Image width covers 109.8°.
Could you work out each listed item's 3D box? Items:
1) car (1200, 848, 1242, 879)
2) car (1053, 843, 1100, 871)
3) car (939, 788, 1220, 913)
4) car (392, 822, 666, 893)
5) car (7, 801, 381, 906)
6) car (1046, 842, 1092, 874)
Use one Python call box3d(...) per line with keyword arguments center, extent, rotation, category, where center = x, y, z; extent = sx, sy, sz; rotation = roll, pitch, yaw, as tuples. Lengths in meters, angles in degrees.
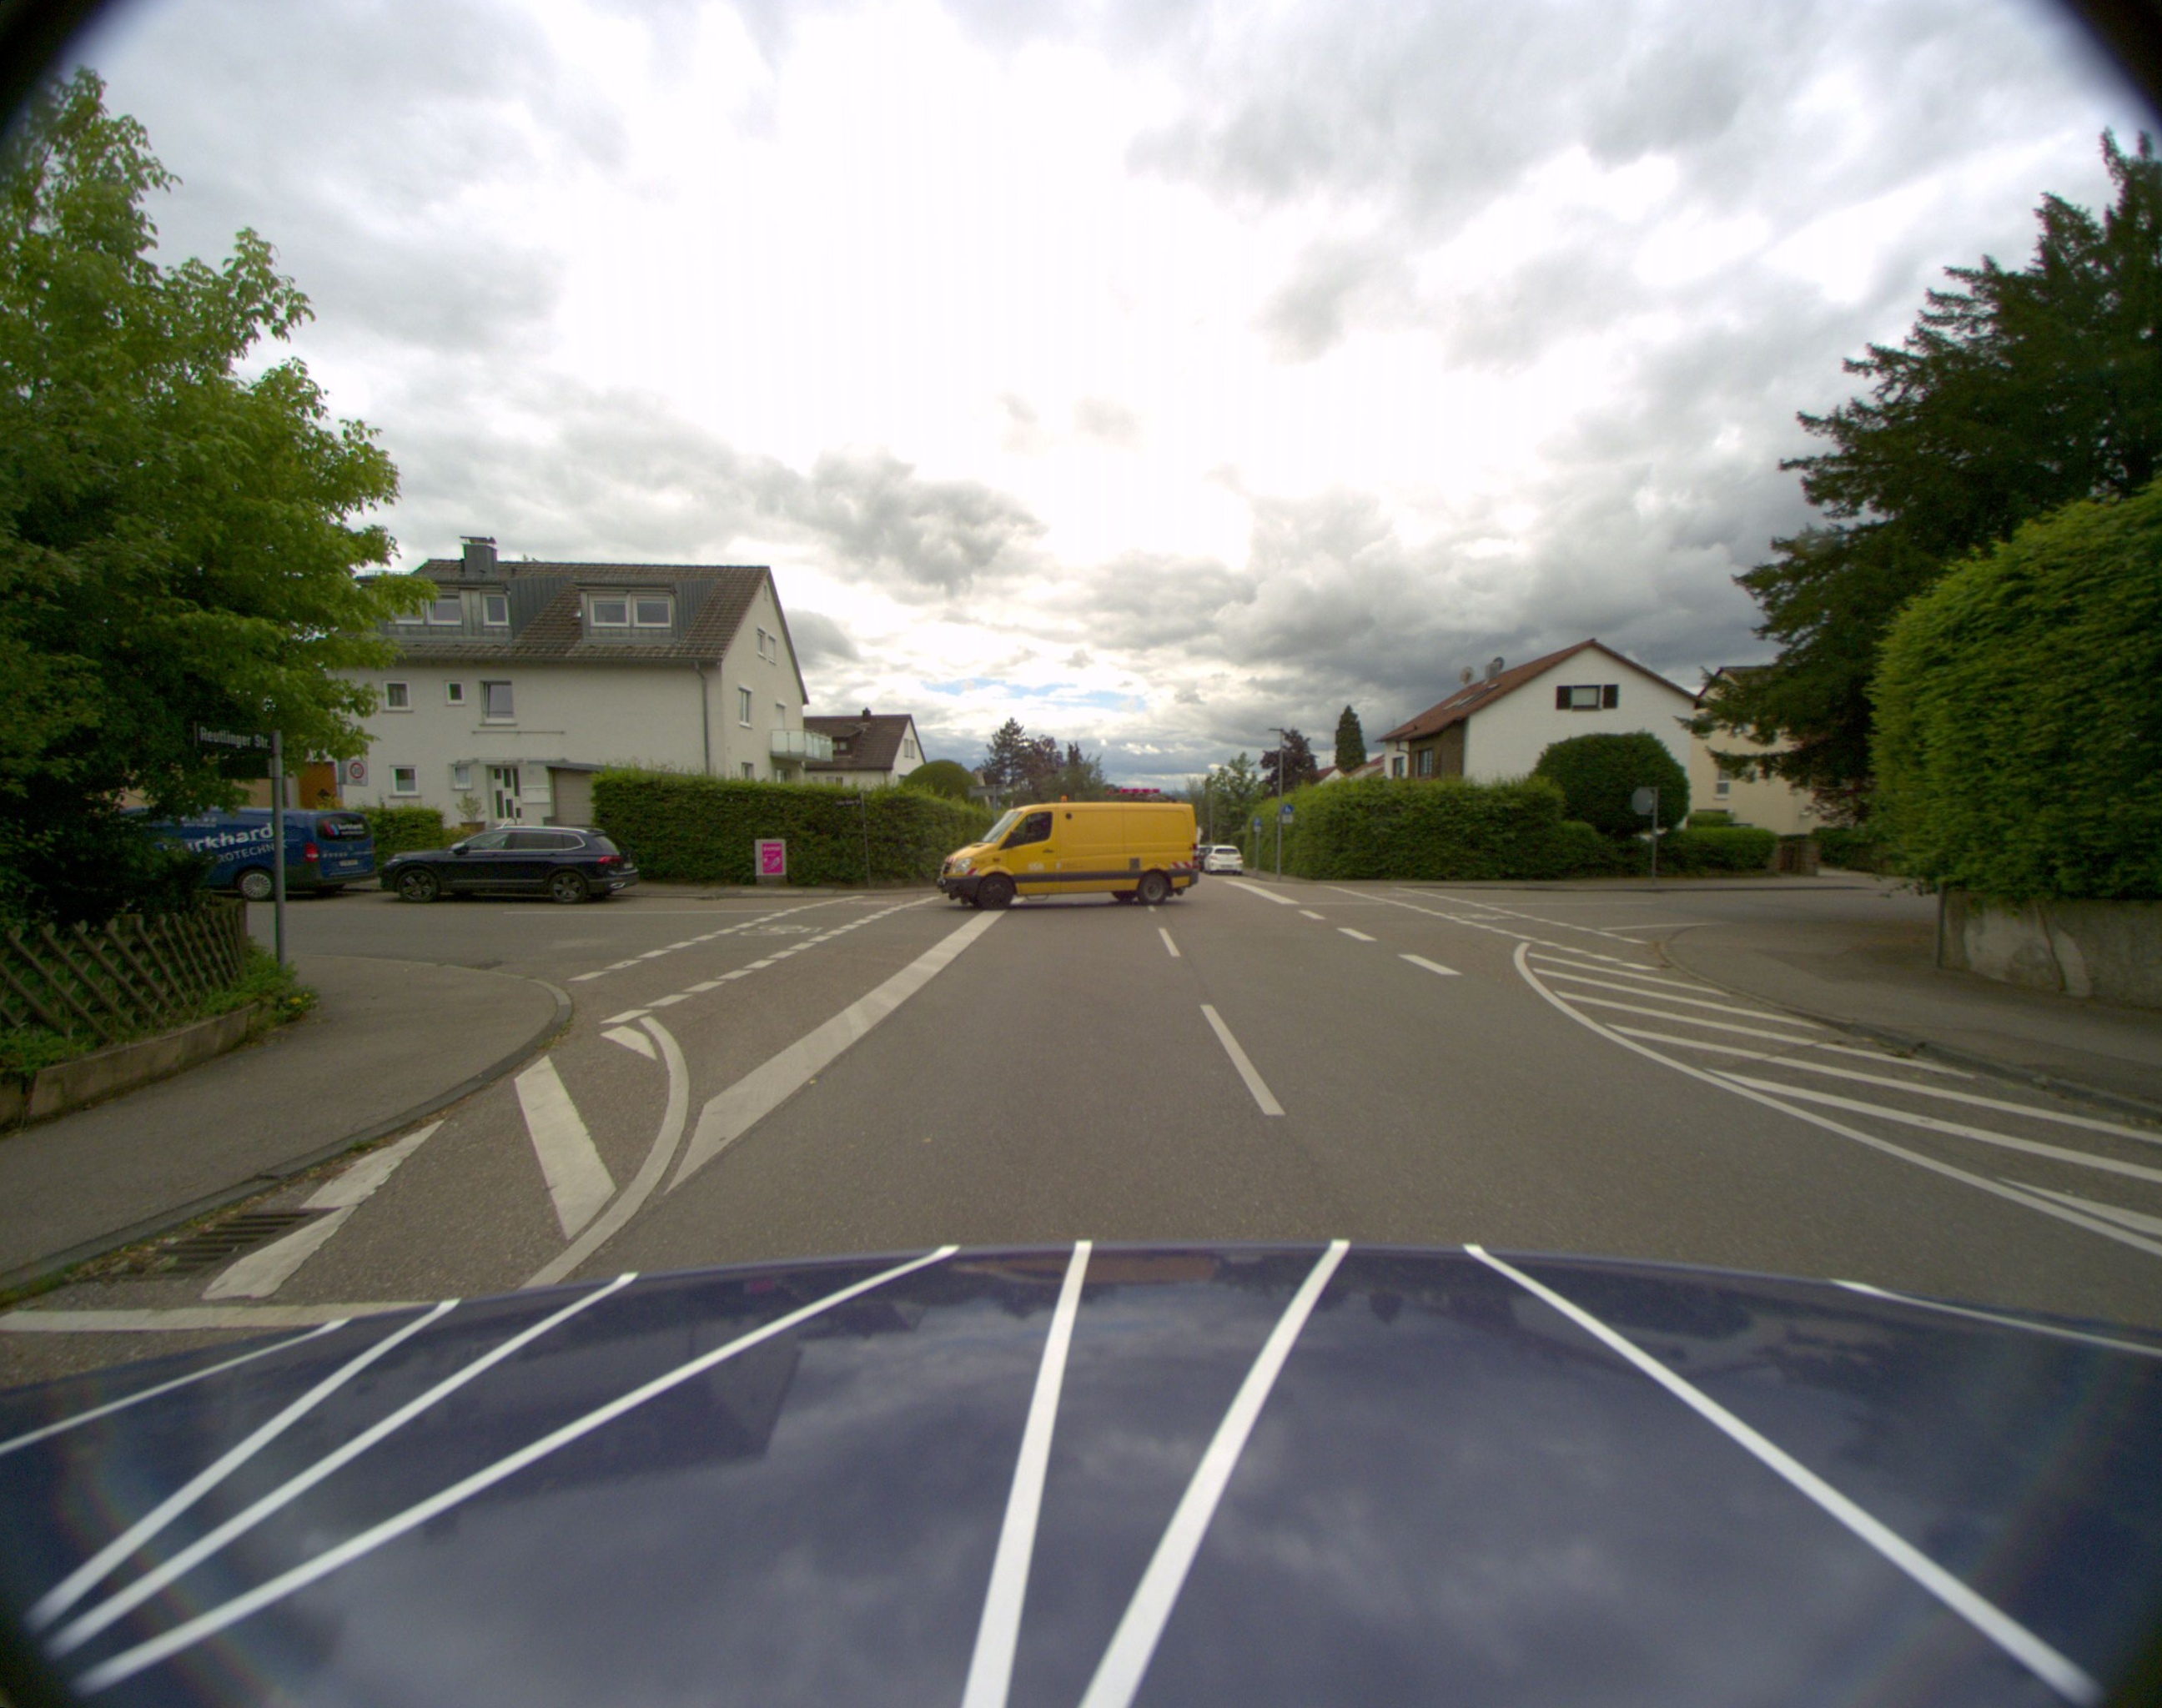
box3d(center=(7.032, 0.433, 38.429), extent=(1.693, 1.411, 3.580), rotation=(2, 1, 5), category="car")
box3d(center=(-0.187, 0.124, 42.789), extent=(1.927, 1.485, 5.211), rotation=(0, 1, 7), category="car")
box3d(center=(-0.070, -0.066, 17.808), extent=(6.149, 2.586, 2.364), rotation=(0, 1, -19), category="car")
box3d(center=(-12.122, 0.099, 17.041), extent=(4.521, 1.426, 1.998), rotation=(1, 0, -13), category="car")
box3d(center=(-17.910, -0.037, 15.673), extent=(4.737, 1.947, 1.883), rotation=(1, 4, -14), category="car")
box3d(center=(-0.540, 0.159, 37.367), extent=(1.794, 1.480, 4.380), rotation=(0, 1, 5), category="car")
